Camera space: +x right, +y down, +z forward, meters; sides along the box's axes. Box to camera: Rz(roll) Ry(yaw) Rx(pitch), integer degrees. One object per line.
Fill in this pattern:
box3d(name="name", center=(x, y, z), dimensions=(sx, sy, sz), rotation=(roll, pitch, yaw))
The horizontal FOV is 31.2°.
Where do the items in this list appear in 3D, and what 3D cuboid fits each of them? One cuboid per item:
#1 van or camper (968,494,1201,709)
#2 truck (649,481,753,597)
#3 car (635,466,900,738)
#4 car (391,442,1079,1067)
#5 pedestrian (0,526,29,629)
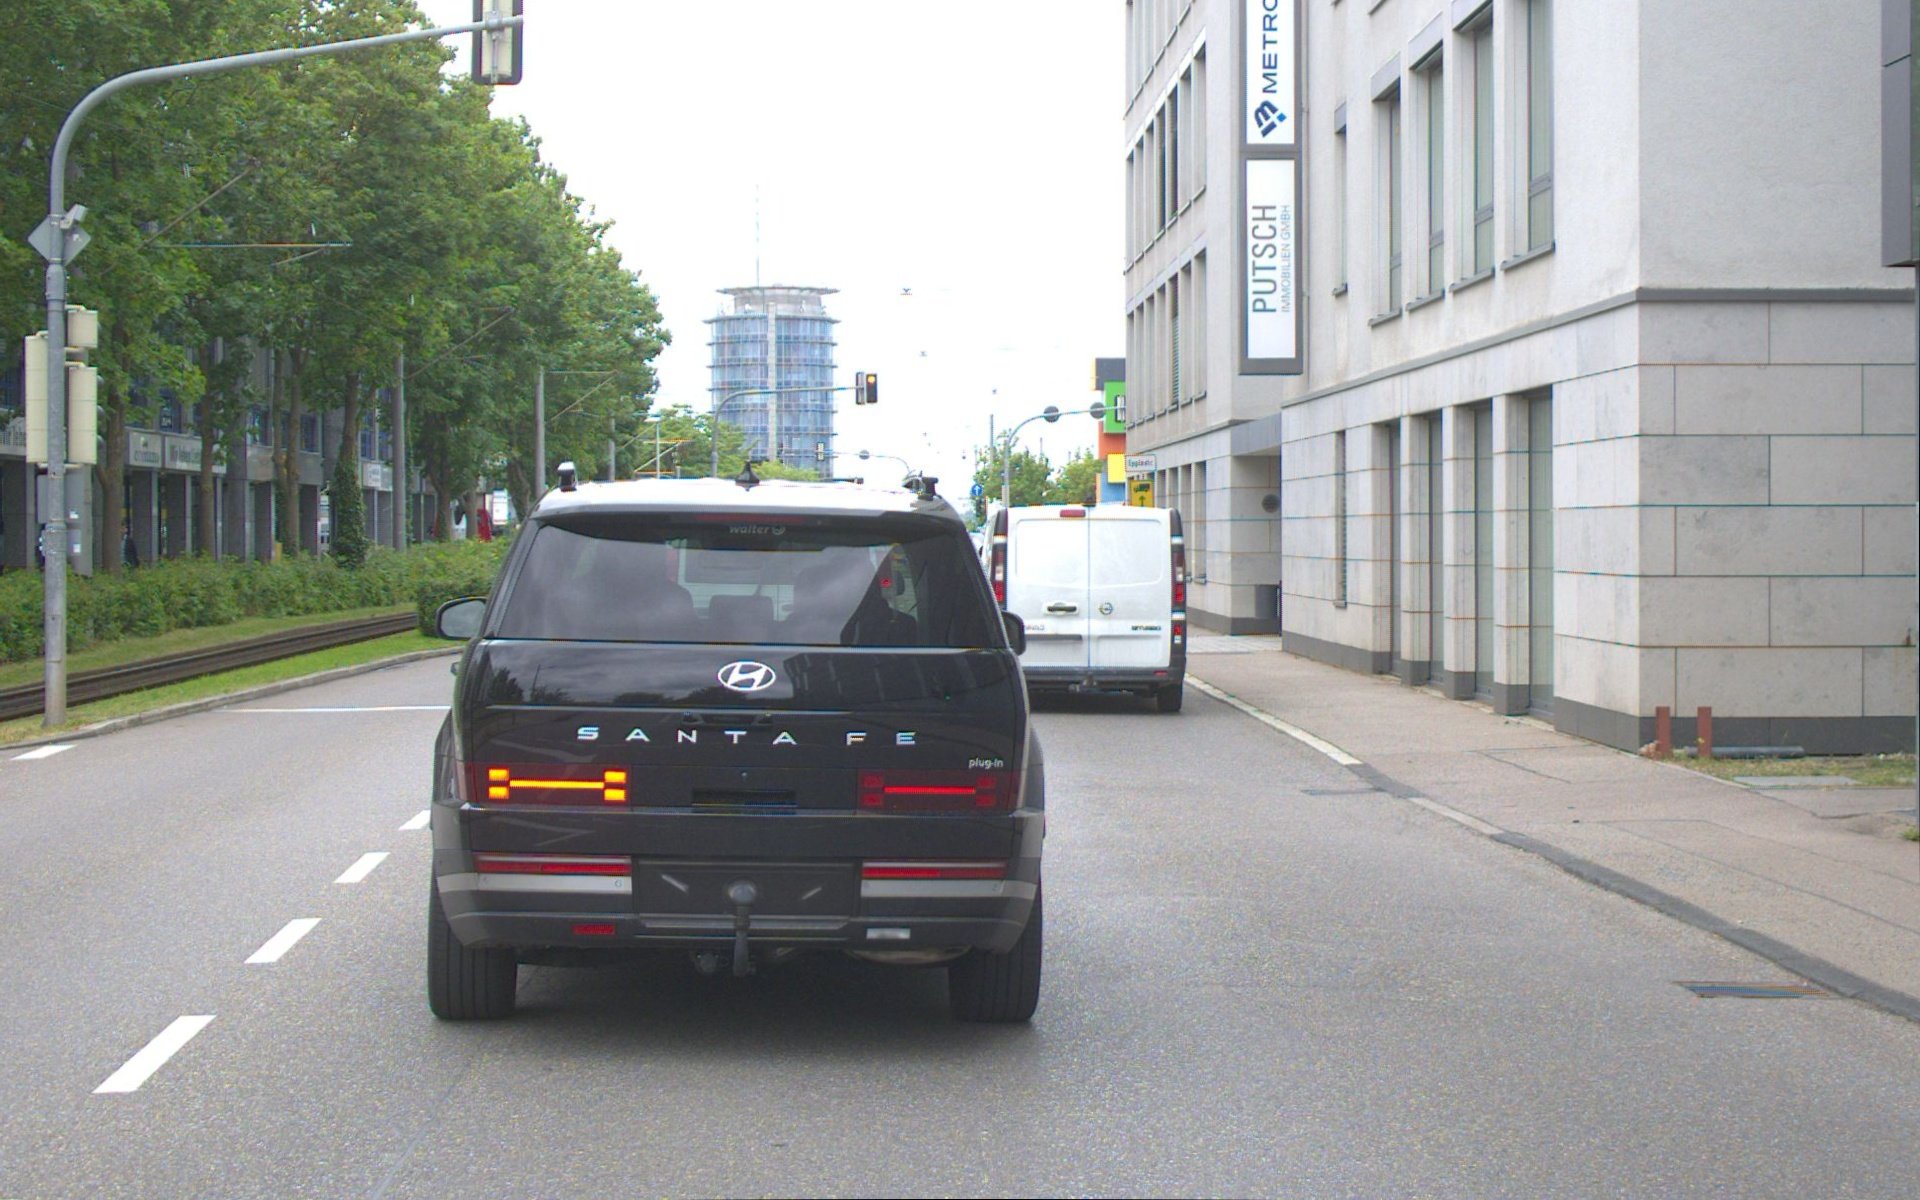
box3d(name="van or camper", center=(1.137, -0.023, 33.388), dimensions=(1.993, 1.909, 4.332), rotation=(1, 1, -1))
box3d(name="truck", center=(-5.963, -1.414, 79.784), dimensions=(2.165, 2.607, 5.797), rotation=(0, 1, -2))
box3d(name="car", center=(-1.596, -0.022, 27.503), dimensions=(1.931, 1.987, 4.536), rotation=(0, 1, -5))
box3d(name="car", center=(-0.839, 0.418, 11.863), dimensions=(1.908, 1.743, 4.397), rotation=(1, 1, -6))
box3d(name="pedestrian", center=(-18.666, -0.441, 67.397), dimensions=(0.681, 2.007, 0.571), rotation=(0, 1, -1))
